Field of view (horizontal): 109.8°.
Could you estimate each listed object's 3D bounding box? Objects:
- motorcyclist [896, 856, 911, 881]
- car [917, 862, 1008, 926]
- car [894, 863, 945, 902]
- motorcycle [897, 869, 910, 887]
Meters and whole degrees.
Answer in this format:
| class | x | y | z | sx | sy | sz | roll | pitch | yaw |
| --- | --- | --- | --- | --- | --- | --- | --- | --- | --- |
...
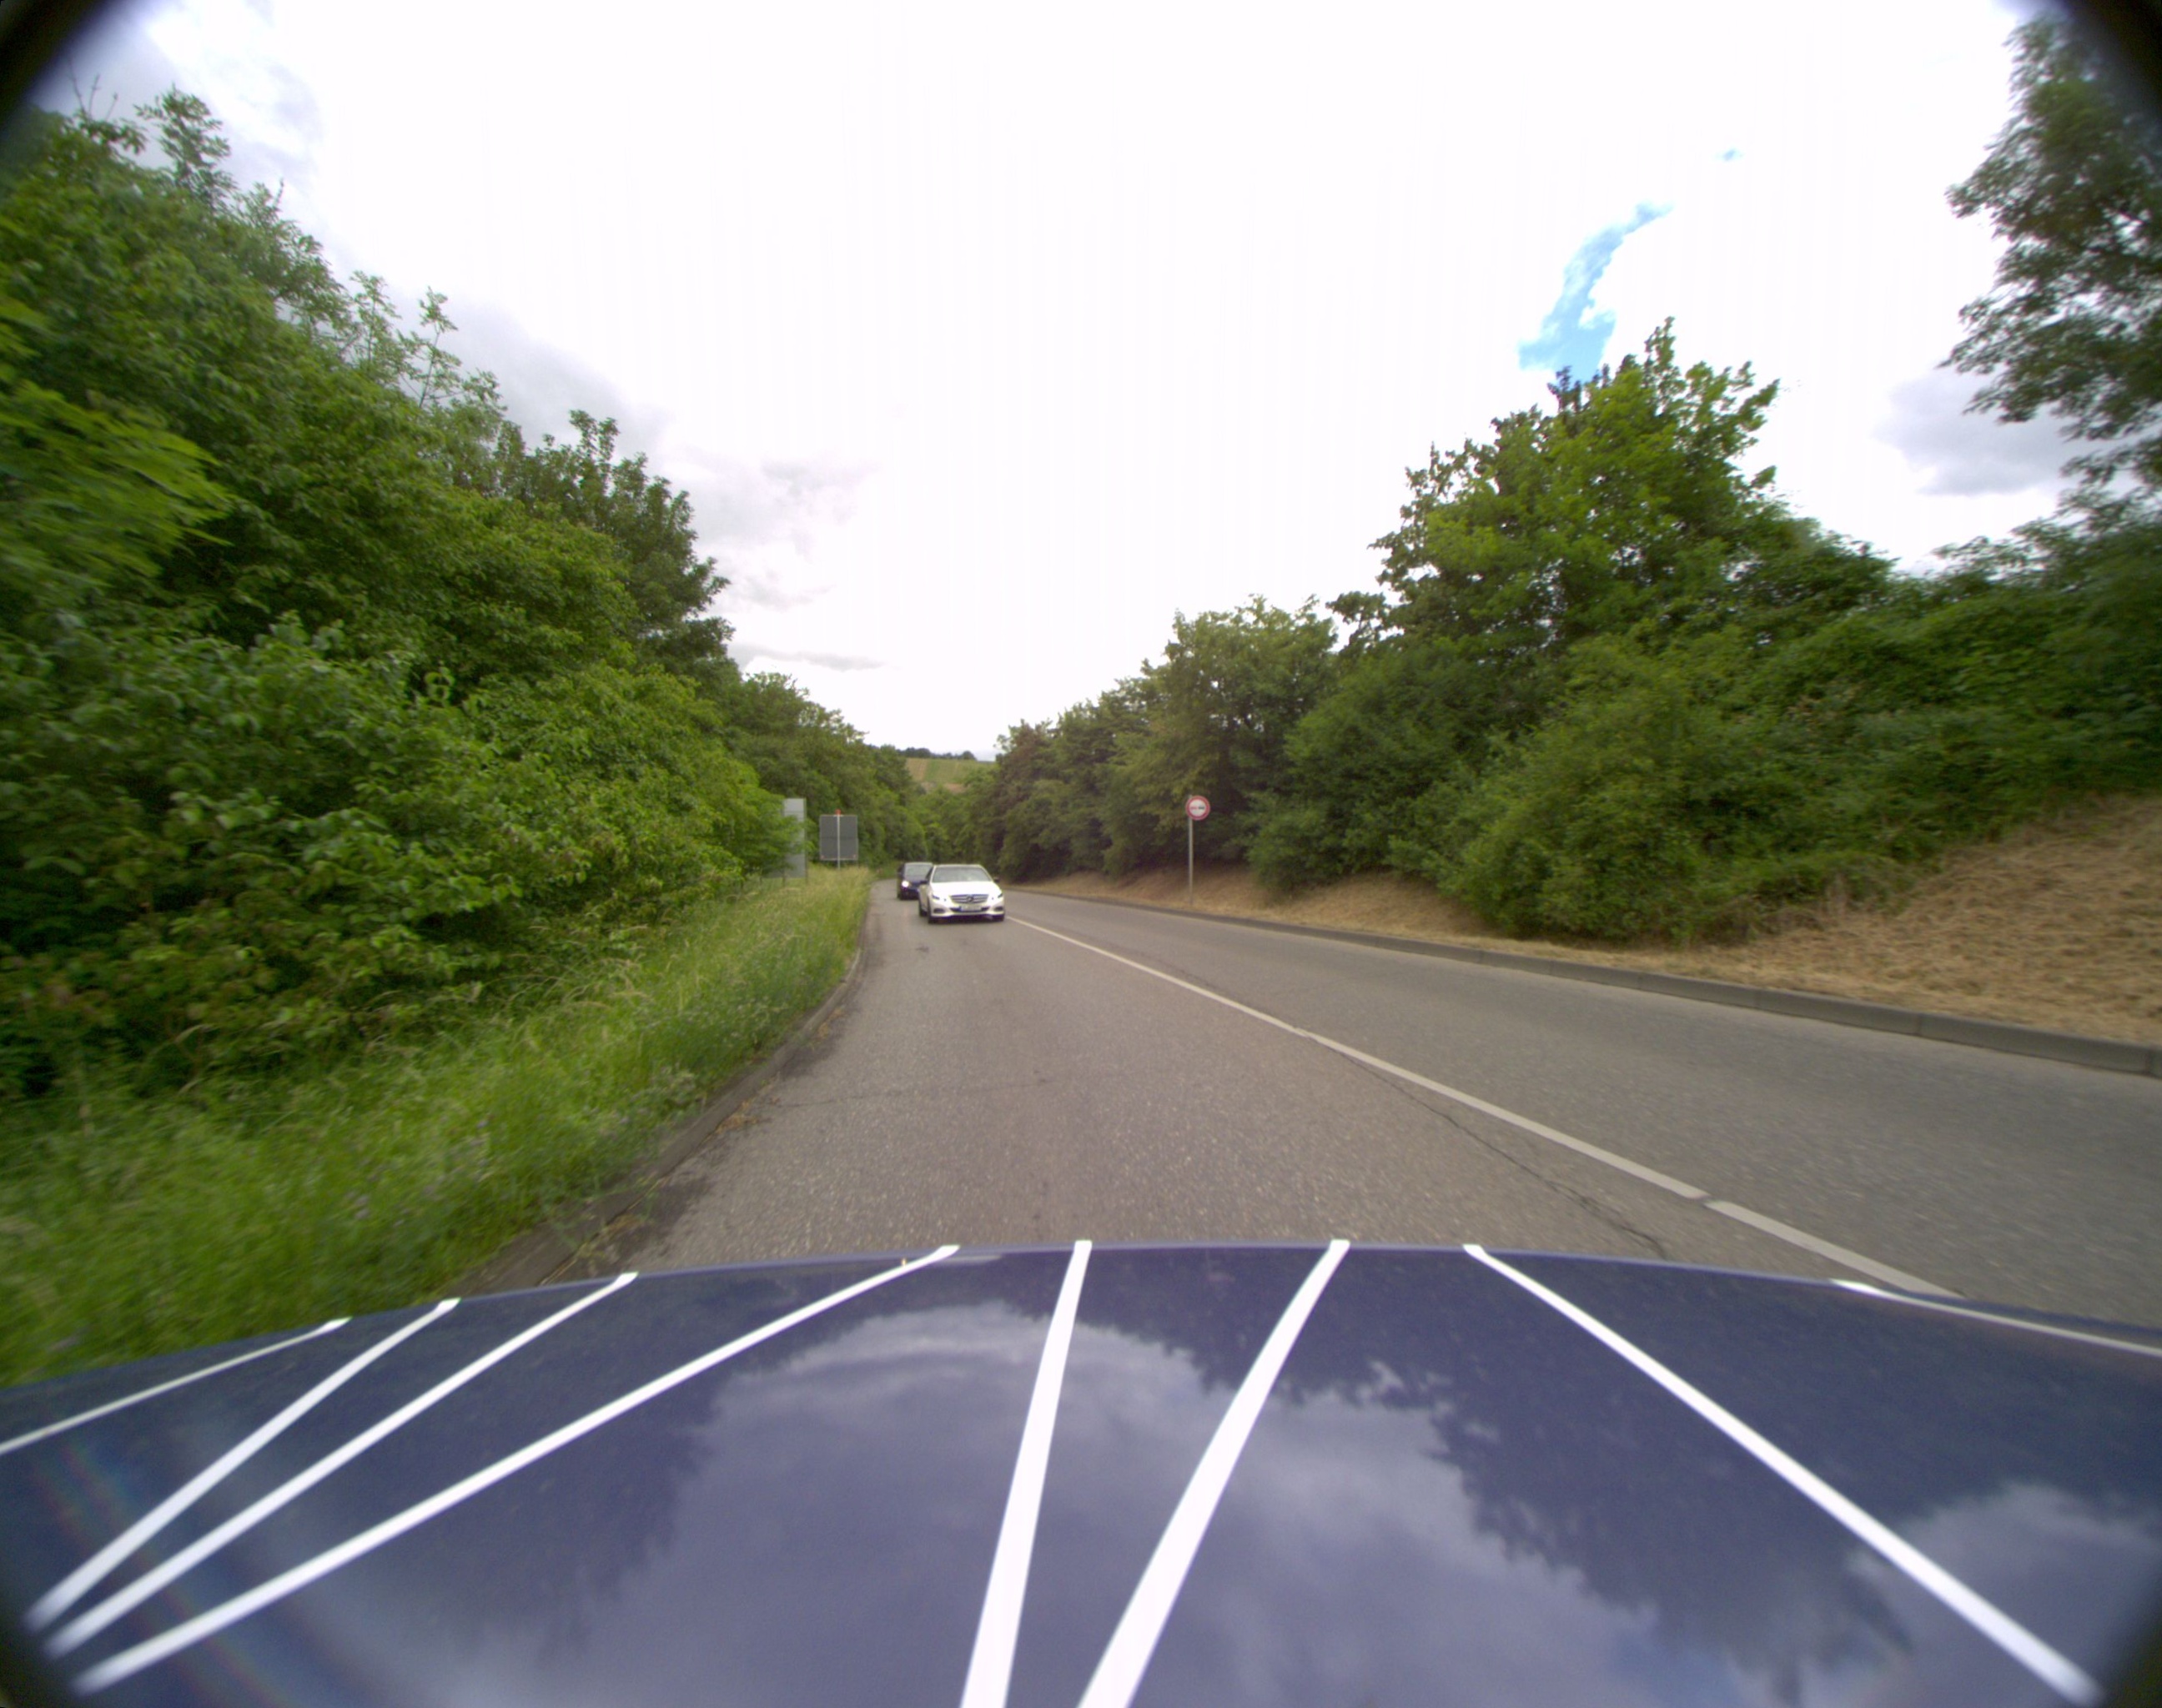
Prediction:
| class | x | y | z | sx | sy | sz | roll | pitch | yaw |
| --- | --- | --- | --- | --- | --- | --- | --- | --- | --- |
| motorcyclist | -10.615 | 0.853 | 45.403 | 0.820 | 1.457 | 0.786 | -2 | 1 | -14 |
| car | -3.216 | 0.969 | 19.950 | 1.890 | 1.414 | 3.995 | -2 | 0 | -15 |
| car | -6.900 | 1.164 | 32.240 | 1.825 | 1.535 | 3.721 | 0 | -1 | -16 |
| motorcycle | -10.598 | 1.416 | 45.418 | 0.703 | 0.970 | 1.692 | -2 | 0 | -14 |
